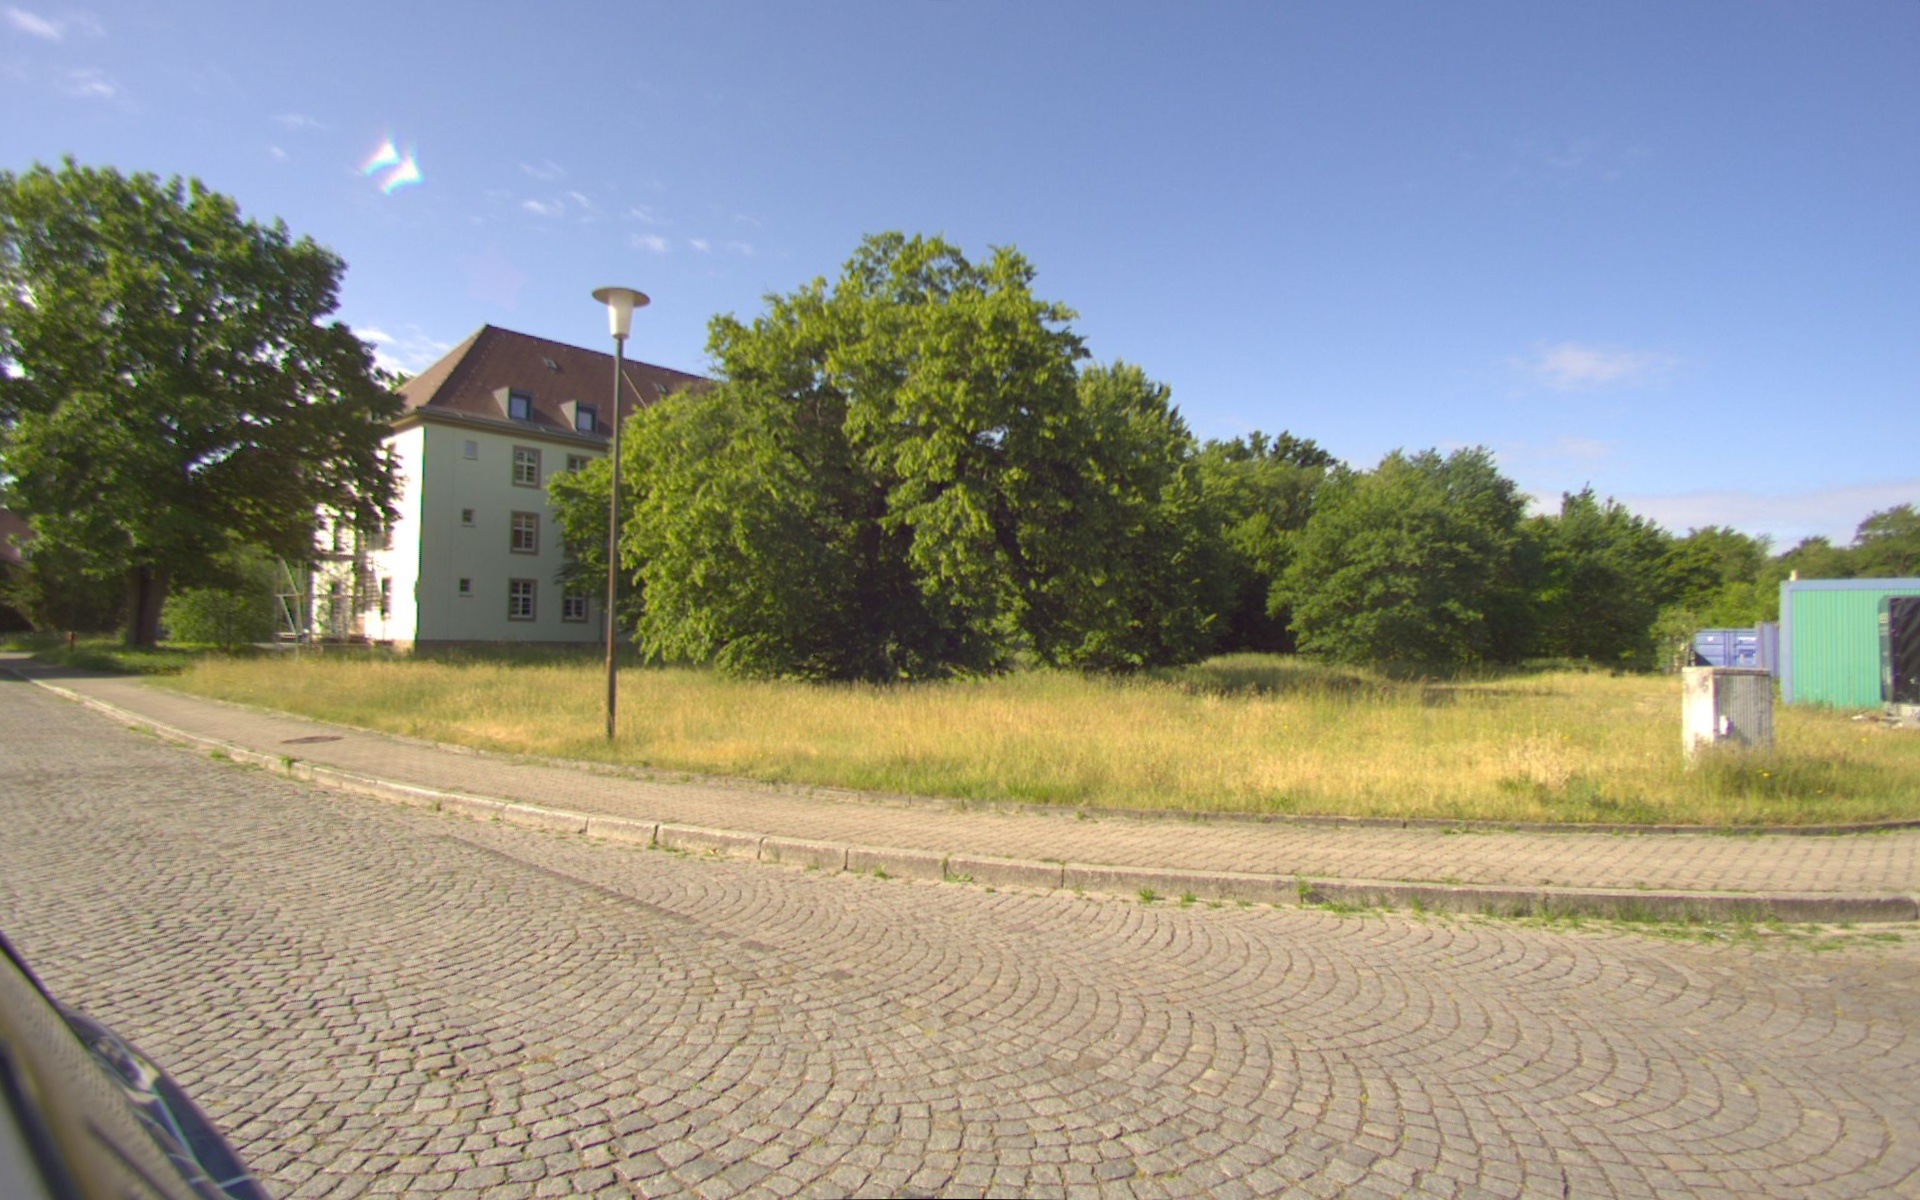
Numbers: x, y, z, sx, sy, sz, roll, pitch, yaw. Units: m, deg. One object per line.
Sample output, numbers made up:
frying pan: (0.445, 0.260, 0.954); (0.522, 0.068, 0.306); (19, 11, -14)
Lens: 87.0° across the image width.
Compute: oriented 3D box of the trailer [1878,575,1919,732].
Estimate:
trailer: (17.027, 0.870, 15.027); (4.847, 2.409, 1.919); (0, -2, 37)

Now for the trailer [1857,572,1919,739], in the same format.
trailer: (14.991, 0.807, 13.551); (4.468, 2.290, 1.986); (0, -2, 42)
